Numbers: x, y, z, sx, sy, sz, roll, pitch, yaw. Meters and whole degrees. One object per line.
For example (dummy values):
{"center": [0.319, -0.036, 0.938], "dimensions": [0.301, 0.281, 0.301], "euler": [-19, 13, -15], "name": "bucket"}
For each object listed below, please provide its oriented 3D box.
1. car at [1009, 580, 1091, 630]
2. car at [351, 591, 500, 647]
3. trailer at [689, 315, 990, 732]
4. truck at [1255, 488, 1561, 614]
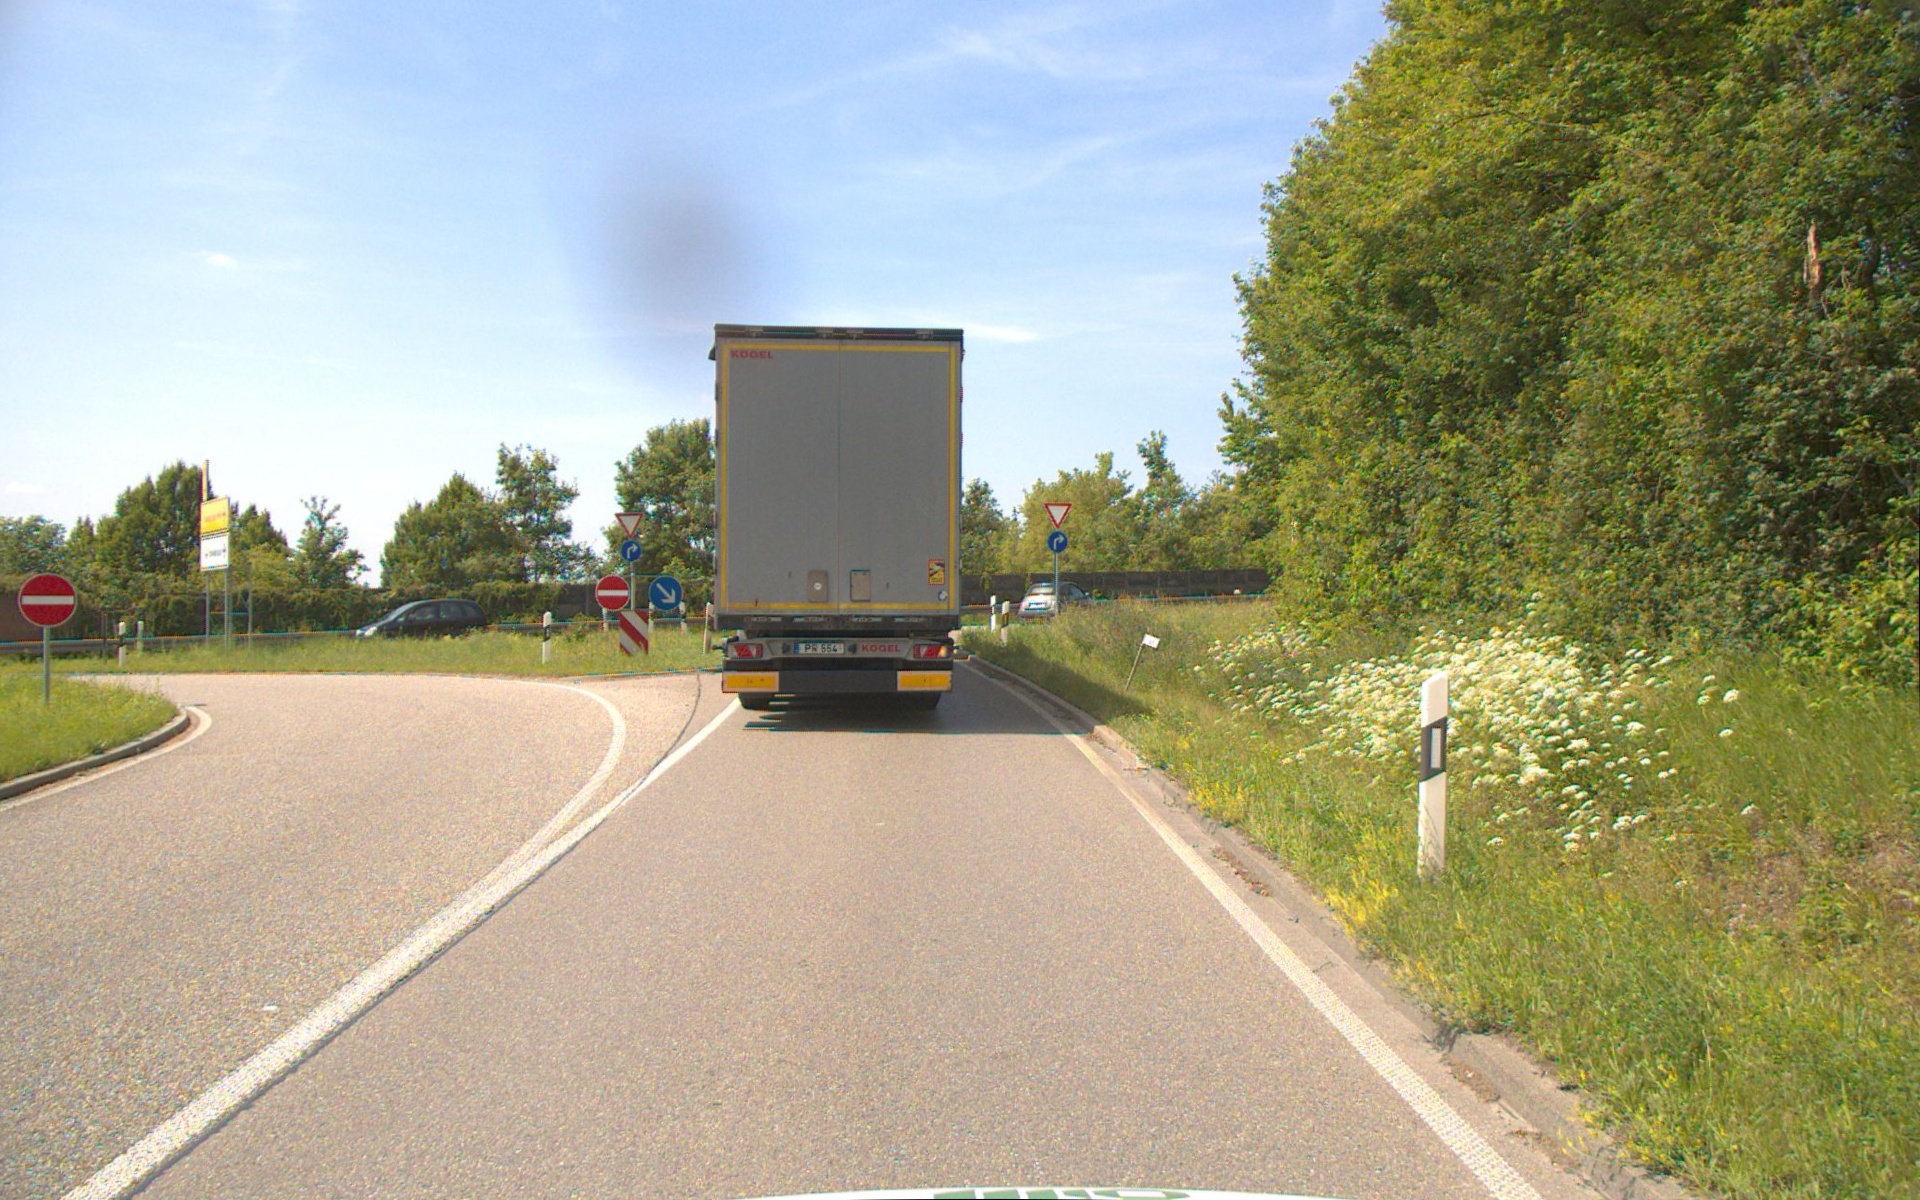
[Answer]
{"center": [2.927, 0.130, 53.128], "dimensions": [1.631, 1.512, 4.002], "euler": [-1, 1, 18], "name": "car"}
{"center": [-16.403, 0.556, 50.816], "dimensions": [4.058, 1.565, 1.734], "euler": [-1, 1, -34], "name": "car"}
{"center": [-1.581, -0.850, 23.055], "dimensions": [2.967, 4.105, 13.343], "euler": [0, 1, -3], "name": "trailer"}
{"center": [19.410, -2.077, 70.458], "dimensions": [16.039, 4.827, 3.788], "euler": [-2, 0, -38], "name": "truck"}
